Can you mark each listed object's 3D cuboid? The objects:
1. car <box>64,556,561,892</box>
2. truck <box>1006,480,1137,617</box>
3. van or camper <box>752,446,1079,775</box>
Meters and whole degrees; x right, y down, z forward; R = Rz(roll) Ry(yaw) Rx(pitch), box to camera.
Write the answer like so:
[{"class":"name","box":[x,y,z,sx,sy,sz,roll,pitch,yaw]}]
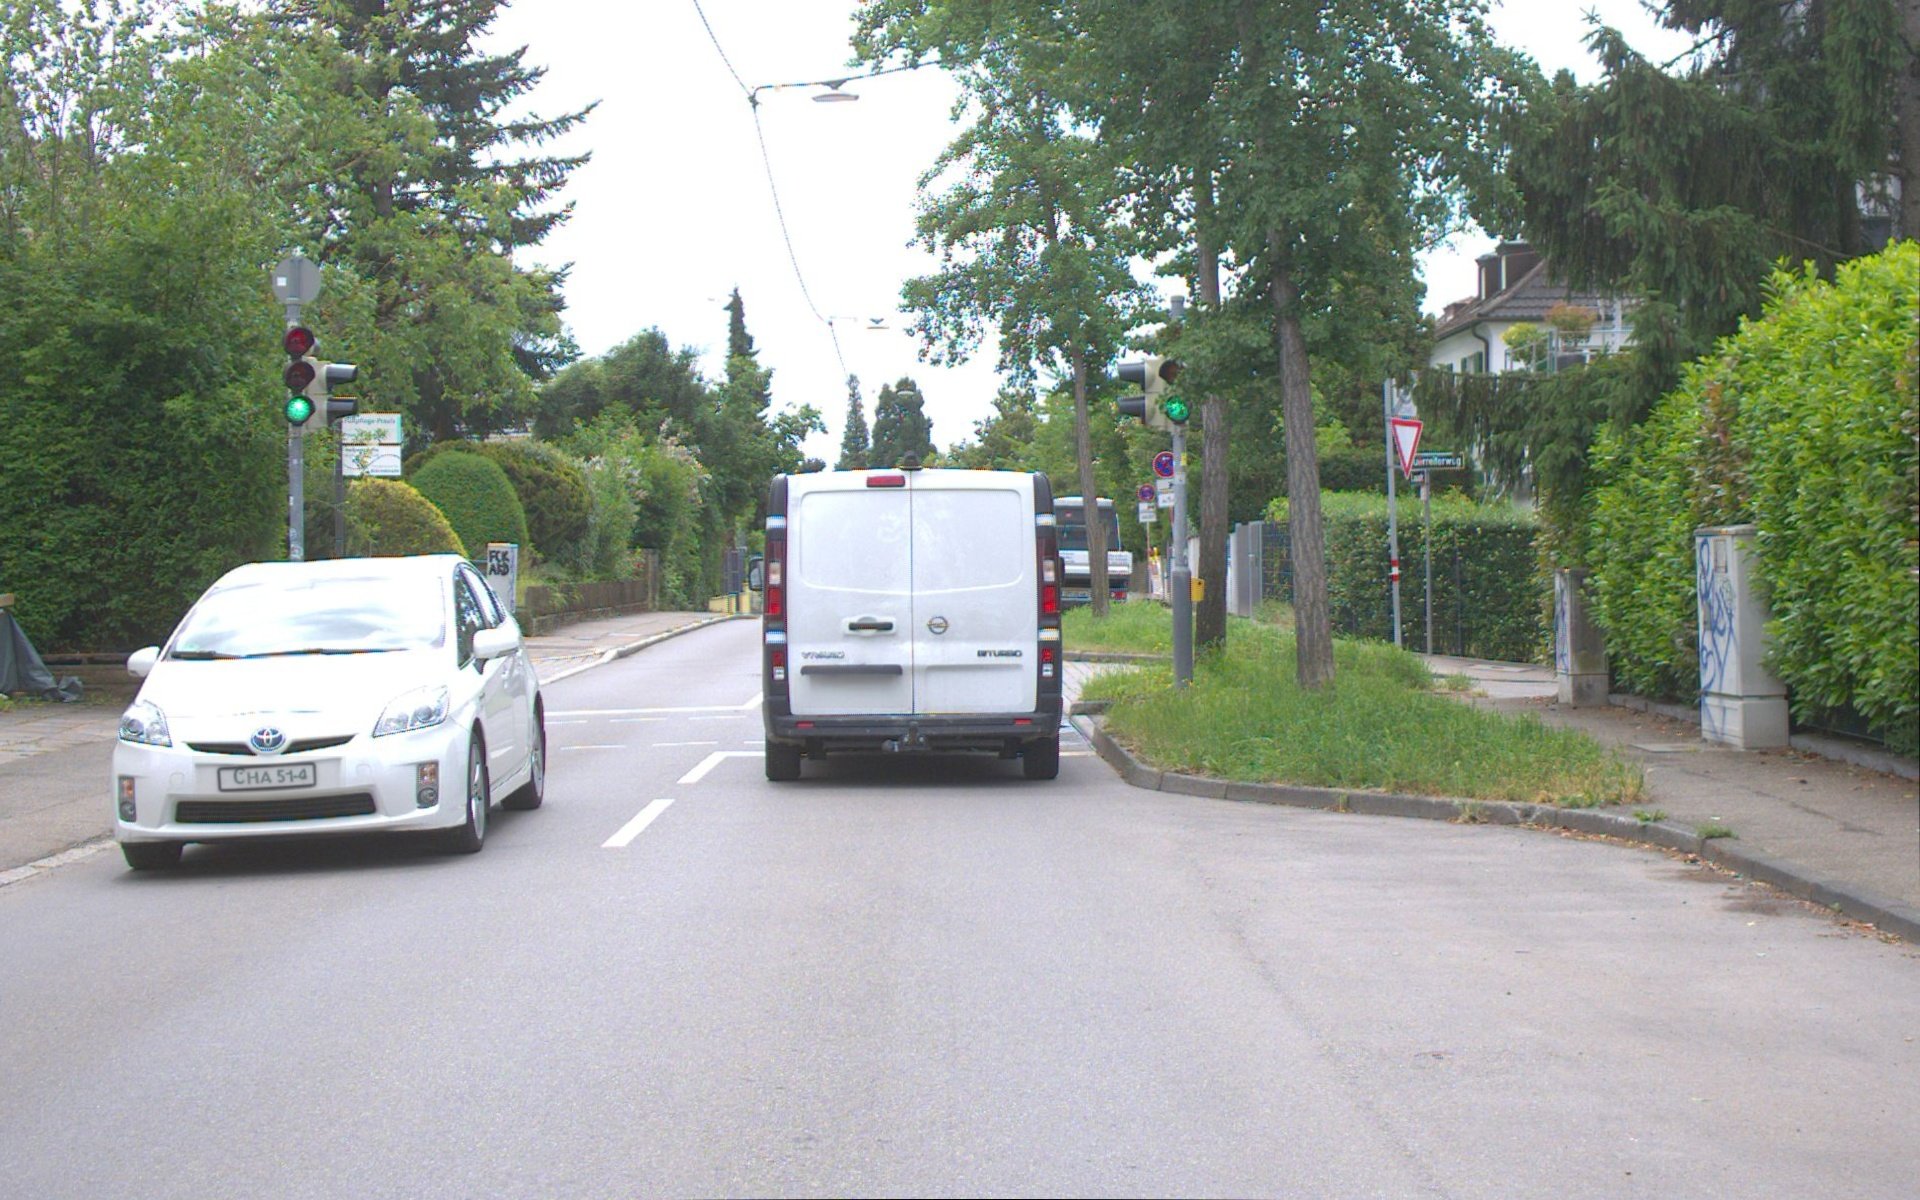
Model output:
[{"class":"car","box":[-3.238,0.545,18.026,1.854,1.446,4.282,-2,1,-2]},{"class":"truck","box":[2.068,-0.985,65.727,2.187,2.463,7.431,1,1,0]},{"class":"van or camper","box":[-0.302,0.073,22.870,1.939,1.947,4.765,0,0,-1]}]
